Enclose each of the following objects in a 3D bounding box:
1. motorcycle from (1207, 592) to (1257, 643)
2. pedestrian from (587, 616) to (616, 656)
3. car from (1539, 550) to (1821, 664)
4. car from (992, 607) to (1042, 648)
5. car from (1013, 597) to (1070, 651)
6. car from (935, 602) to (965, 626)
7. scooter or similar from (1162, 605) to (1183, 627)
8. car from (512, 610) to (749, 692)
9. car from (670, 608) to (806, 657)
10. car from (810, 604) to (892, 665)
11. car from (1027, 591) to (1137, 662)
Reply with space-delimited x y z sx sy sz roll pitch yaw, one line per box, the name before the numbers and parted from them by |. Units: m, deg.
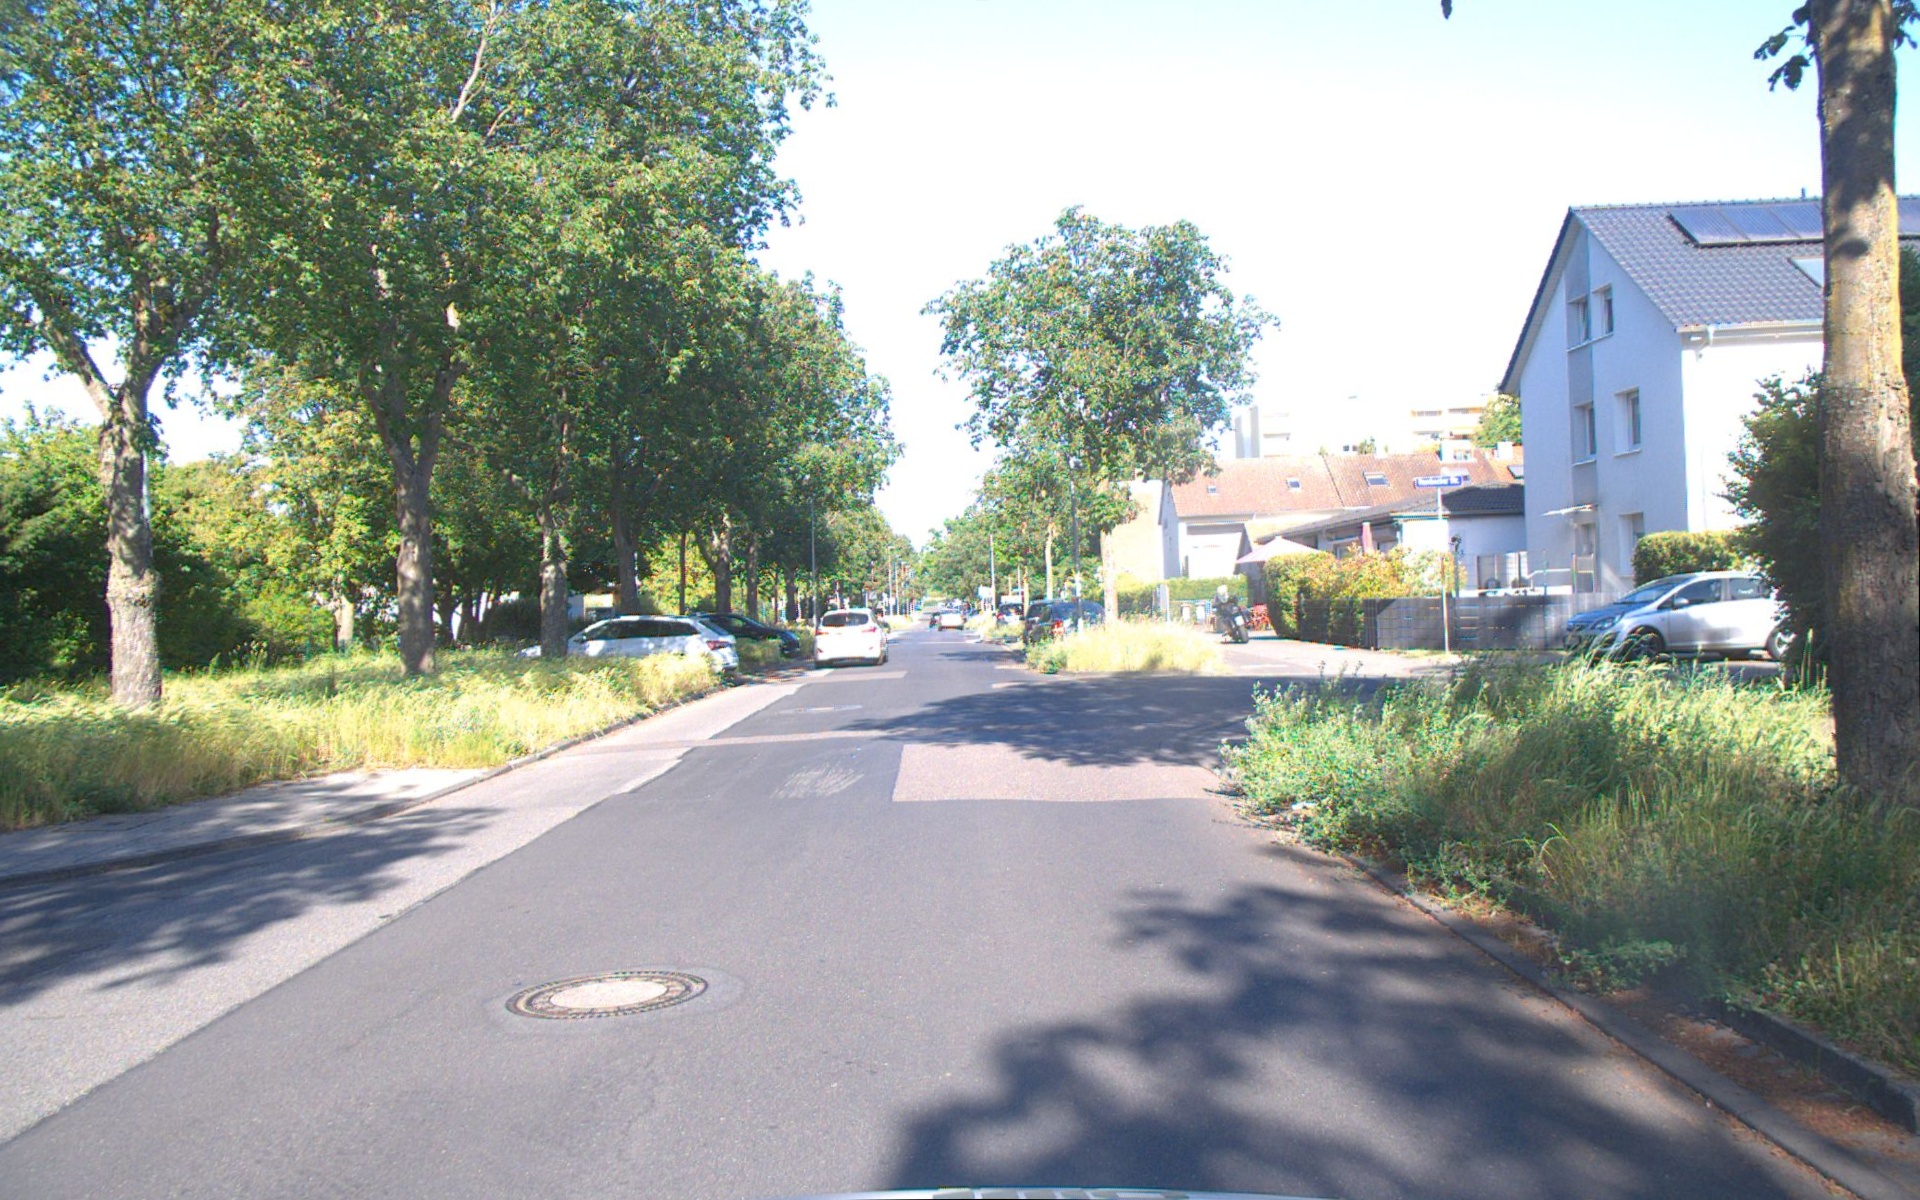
motorcycle | 7.148 0.446 43.596 0.801 1.248 2.351 -4 0 -1
pedestrian | -16.916 1.711 78.027 1.205 1.859 1.543 0 -1 -17
car | 11.980 0.108 27.640 3.911 1.668 1.774 -3 0 -7
car | 2.742 1.342 80.089 1.954 1.758 3.997 -4 -1 -3
car | 2.578 0.772 53.201 1.577 1.650 4.381 1 -1 0
car | -0.689 0.950 110.526 1.953 1.534 3.657 1 -1 -1
scooter or similar | 8.778 0.653 68.368 0.361 0.873 1.407 -1 0 -14
car | -6.924 1.051 35.115 4.575 1.529 2.000 -2 0 0
car | -7.326 1.066 54.779 4.279 1.558 1.807 -1 -1 -2
car | -2.861 0.879 44.122 1.953 1.480 4.223 -2 0 -1
car | 2.995 0.650 41.411 1.955 1.650 4.375 1 -1 -7
